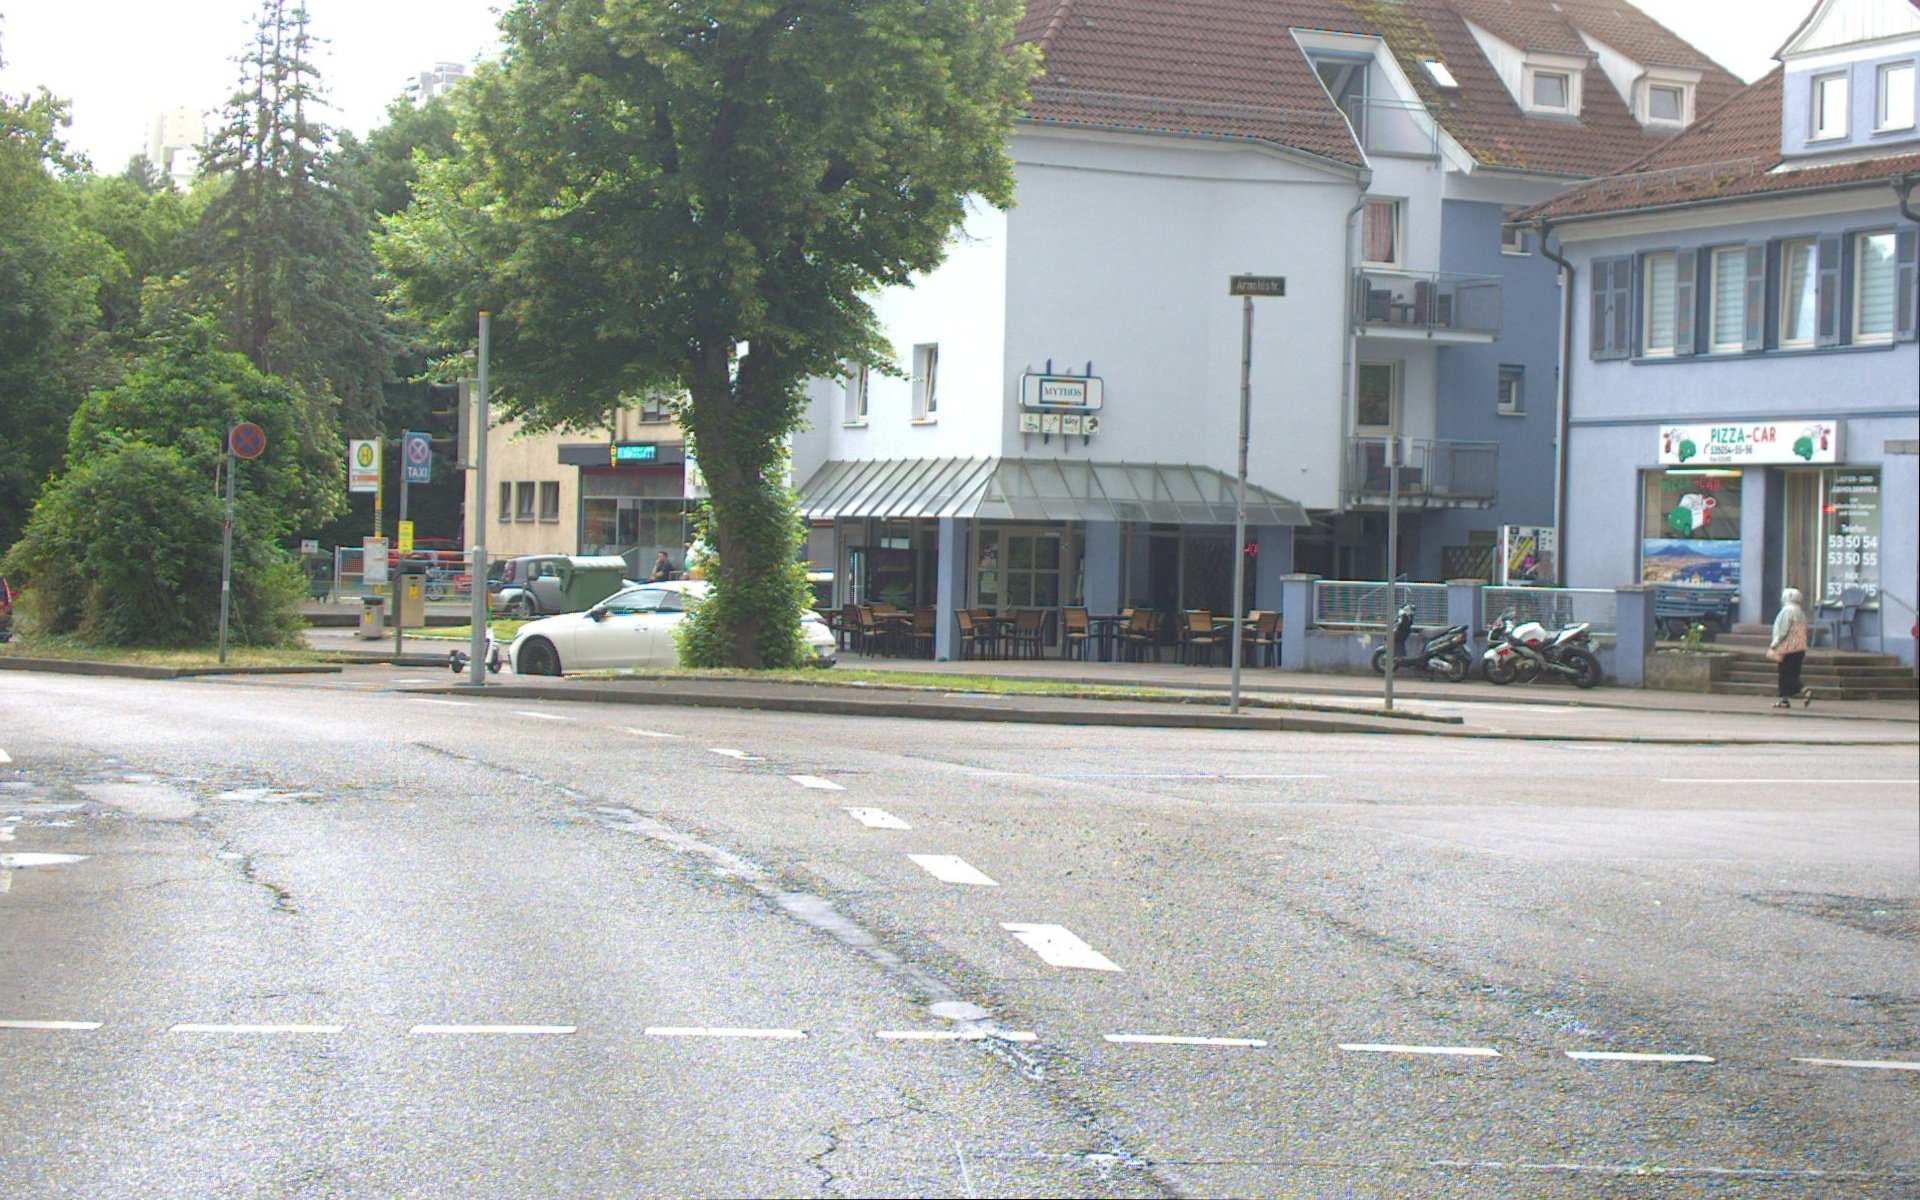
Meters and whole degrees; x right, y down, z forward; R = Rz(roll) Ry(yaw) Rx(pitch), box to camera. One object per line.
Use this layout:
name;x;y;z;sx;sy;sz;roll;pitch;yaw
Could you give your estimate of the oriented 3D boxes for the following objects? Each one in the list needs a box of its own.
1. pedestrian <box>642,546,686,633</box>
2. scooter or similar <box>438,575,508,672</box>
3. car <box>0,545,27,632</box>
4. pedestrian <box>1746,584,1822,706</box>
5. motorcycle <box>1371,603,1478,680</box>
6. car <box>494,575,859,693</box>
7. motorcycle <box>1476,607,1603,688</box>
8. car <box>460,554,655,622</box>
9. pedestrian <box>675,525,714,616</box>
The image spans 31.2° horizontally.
pedestrian;-6.952;-0.252;80.709;0.837;2.007;1.056;1;1;-14
scooter or similar;-6.029;0.284;42.617;0.442;1.171;1.437;1;1;9
car;-16.419;-0.216;53.522;3.322;1.347;1.778;1;1;27
pedestrian;10.655;0.580;44.450;0.732;1.554;0.767;1;0;31
motorcycle;6.774;0.593;50.134;1.458;1.085;0.523;1;1;35
car;-3.804;0.422;45.761;4.709;1.405;1.898;2;1;35
motorcycle;8.150;0.664;48.365;1.628;1.085;0.626;1;1;32
car;-8.856;-0.267;75.630;3.936;1.437;1.753;1;1;-20
pedestrian;-4.567;-0.501;59.242;0.543;1.554;0.467;0;0;13
